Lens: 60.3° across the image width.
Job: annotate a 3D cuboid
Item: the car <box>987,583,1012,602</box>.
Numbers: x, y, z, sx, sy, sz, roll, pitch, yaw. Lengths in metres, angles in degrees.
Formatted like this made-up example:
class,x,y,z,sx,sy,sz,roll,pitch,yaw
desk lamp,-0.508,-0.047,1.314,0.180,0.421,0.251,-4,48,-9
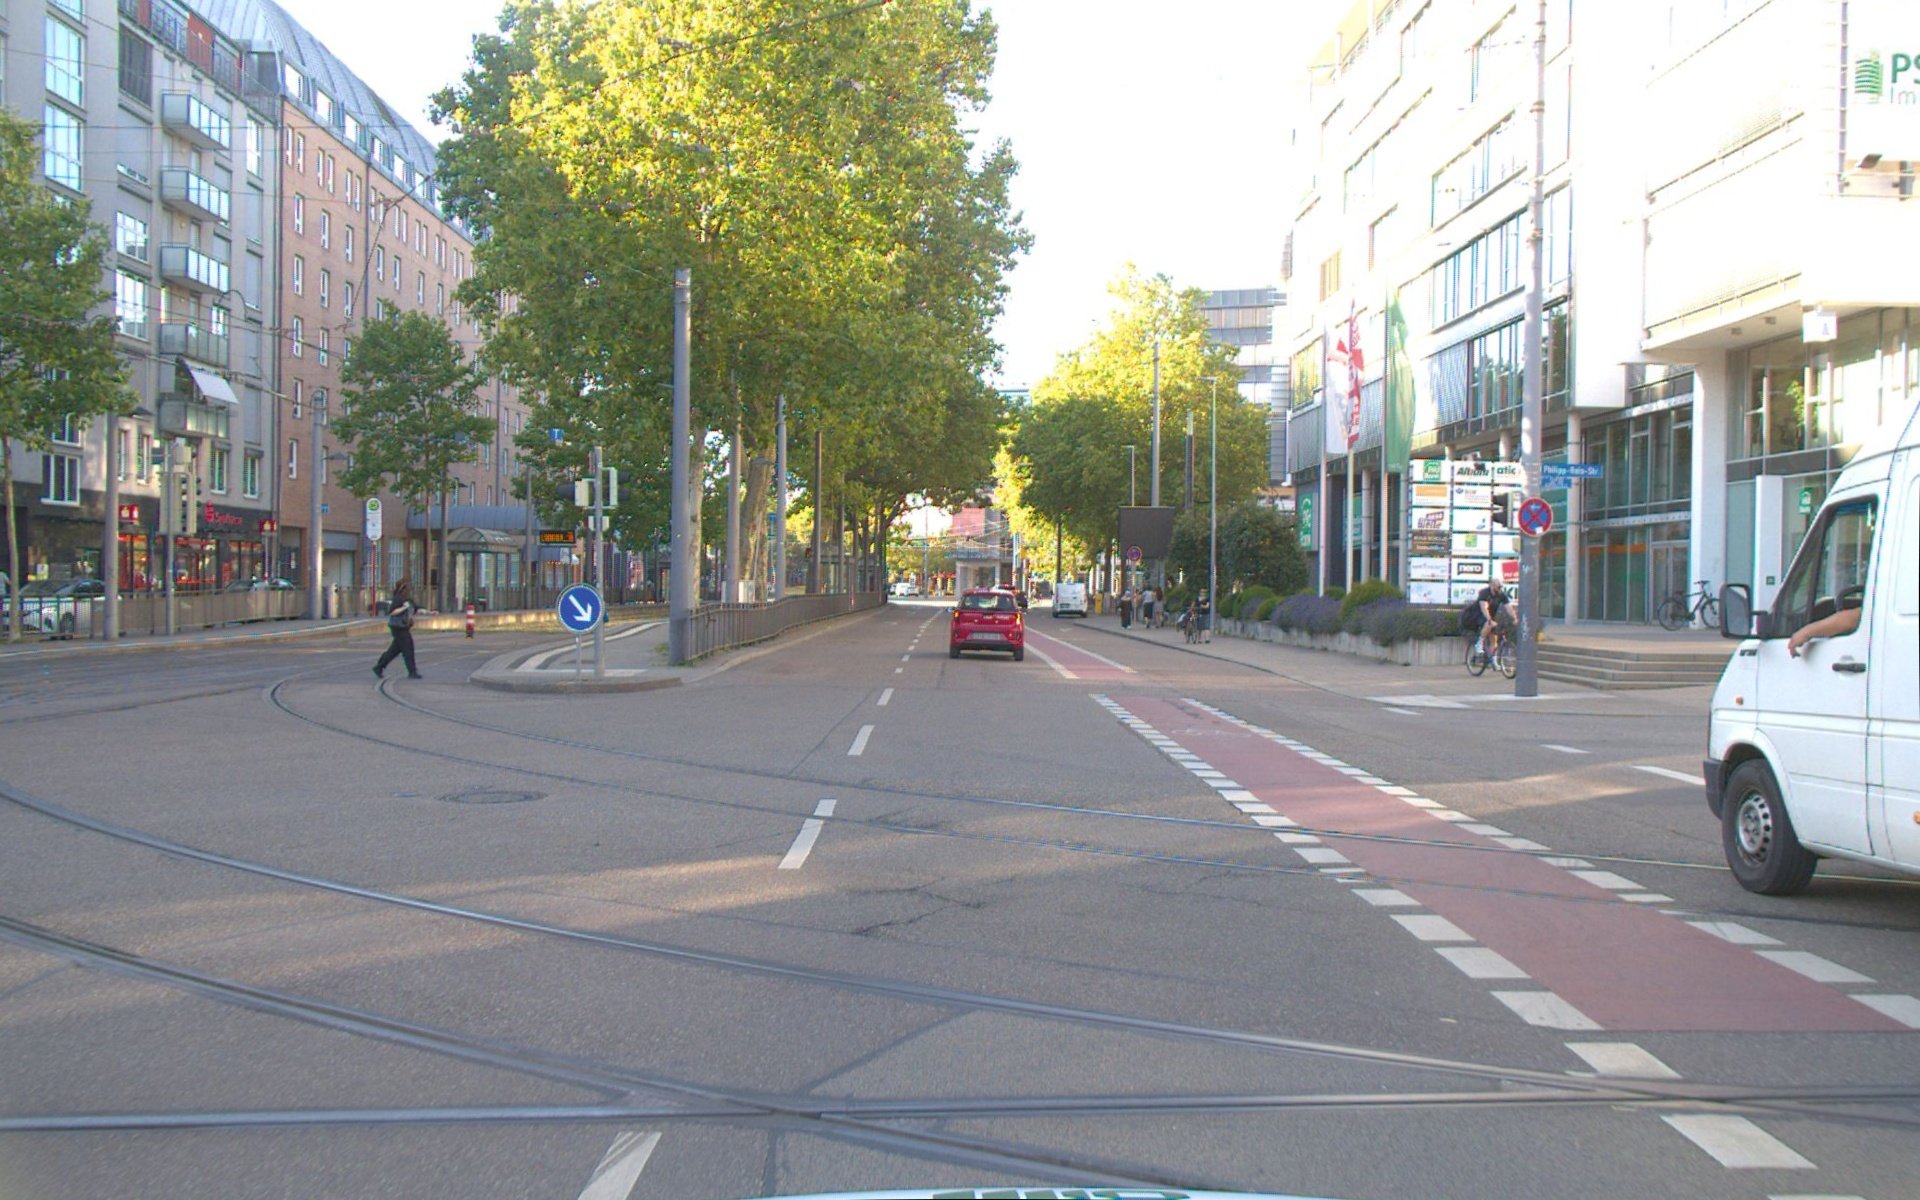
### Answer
class,x,y,z,sx,sy,sz,roll,pitch,yaw
car,3.376,-0.633,141.834,1.743,1.561,3.508,1,1,-5

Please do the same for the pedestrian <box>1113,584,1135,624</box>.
class,x,y,z,sx,sy,sz,roll,pitch,yaw
pedestrian,6.742,0.178,68.049,0.630,1.607,0.721,-3,0,-11

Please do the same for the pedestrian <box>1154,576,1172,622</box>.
class,x,y,z,sx,sy,sz,roll,pitch,yaw
pedestrian,8.359,-0.041,68.040,0.529,1.827,0.906,-3,0,-3

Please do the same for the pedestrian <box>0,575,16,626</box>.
class,x,y,z,sx,sy,sz,roll,pitch,yaw
pedestrian,-28.367,0.010,48.973,0.524,1.520,0.587,0,0,-4

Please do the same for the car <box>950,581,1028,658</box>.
class,x,y,z,sx,sy,sz,roll,pitch,yaw
car,0.596,0.378,36.059,1.580,1.561,3.411,1,1,-1

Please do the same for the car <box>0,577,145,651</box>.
class,x,y,z,sx,sy,sz,roll,pitch,yaw
car,-21.210,0.280,39.014,1.915,1.623,4.260,0,1,-1

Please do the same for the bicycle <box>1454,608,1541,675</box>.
class,x,y,z,sx,sy,sz,roll,pitch,yaw
bicycle,9.721,0.727,29.974,0.684,1.117,1.746,-3,1,-11

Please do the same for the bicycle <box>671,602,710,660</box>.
class,x,y,z,sx,sy,sz,roll,pitch,yaw
bicycle,-4.893,0.553,30.078,0.387,0.965,1.352,0,3,4

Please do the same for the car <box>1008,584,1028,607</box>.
class,x,y,z,sx,sy,sz,roll,pitch,yaw
car,4.640,-0.380,132.600,1.602,1.831,3.330,0,1,1

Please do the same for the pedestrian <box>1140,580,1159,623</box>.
class,x,y,z,sx,sy,sz,roll,pitch,yaw
pedestrian,7.789,0.062,68.065,0.553,1.732,0.906,-3,0,-3

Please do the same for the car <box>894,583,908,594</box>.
class,x,y,z,sx,sy,sz,roll,pitch,yaw
car,-8.246,-1.594,229.907,1.743,1.561,3.408,1,1,-5

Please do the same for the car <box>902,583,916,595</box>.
class,x,y,z,sx,sy,sz,roll,pitch,yaw
car,-6.877,-1.505,223.339,1.743,1.561,3.408,1,1,-5

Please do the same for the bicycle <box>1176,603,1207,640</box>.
class,x,y,z,sx,sy,sz,roll,pitch,yaw
bicycle,6.925,0.629,49.546,0.510,0.991,2.201,-3,1,-2

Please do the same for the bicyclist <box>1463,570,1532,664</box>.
class,x,y,z,sx,sy,sz,roll,pitch,yaw
bicyclist,9.713,0.292,29.905,0.709,1.631,1.086,-2,1,-11

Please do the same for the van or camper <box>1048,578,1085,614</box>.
class,x,y,z,sx,sy,sz,roll,pitch,yaw
van or camper,6.312,-0.244,98.509,1.952,2.024,4.745,1,0,0

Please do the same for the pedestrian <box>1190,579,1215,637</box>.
class,x,y,z,sx,sy,sz,roll,pitch,yaw
pedestrian,7.261,0.233,49.613,0.633,1.709,0.651,0,0,-2

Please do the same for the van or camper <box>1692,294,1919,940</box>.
class,x,y,z,sx,sy,sz,roll,pitch,yaw
van or camper,5.073,0.100,6.036,1.928,2.763,6.305,1,1,0

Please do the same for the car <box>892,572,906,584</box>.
class,x,y,z,sx,sy,sz,roll,pitch,yaw
car,-8.718,-3.179,235.901,1.743,1.616,3.408,1,1,-5

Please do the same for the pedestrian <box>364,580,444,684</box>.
class,x,y,z,sx,sy,sz,roll,pitch,yaw
pedestrian,-8.521,0.474,25.389,1.025,1.571,0.693,0,0,-6
